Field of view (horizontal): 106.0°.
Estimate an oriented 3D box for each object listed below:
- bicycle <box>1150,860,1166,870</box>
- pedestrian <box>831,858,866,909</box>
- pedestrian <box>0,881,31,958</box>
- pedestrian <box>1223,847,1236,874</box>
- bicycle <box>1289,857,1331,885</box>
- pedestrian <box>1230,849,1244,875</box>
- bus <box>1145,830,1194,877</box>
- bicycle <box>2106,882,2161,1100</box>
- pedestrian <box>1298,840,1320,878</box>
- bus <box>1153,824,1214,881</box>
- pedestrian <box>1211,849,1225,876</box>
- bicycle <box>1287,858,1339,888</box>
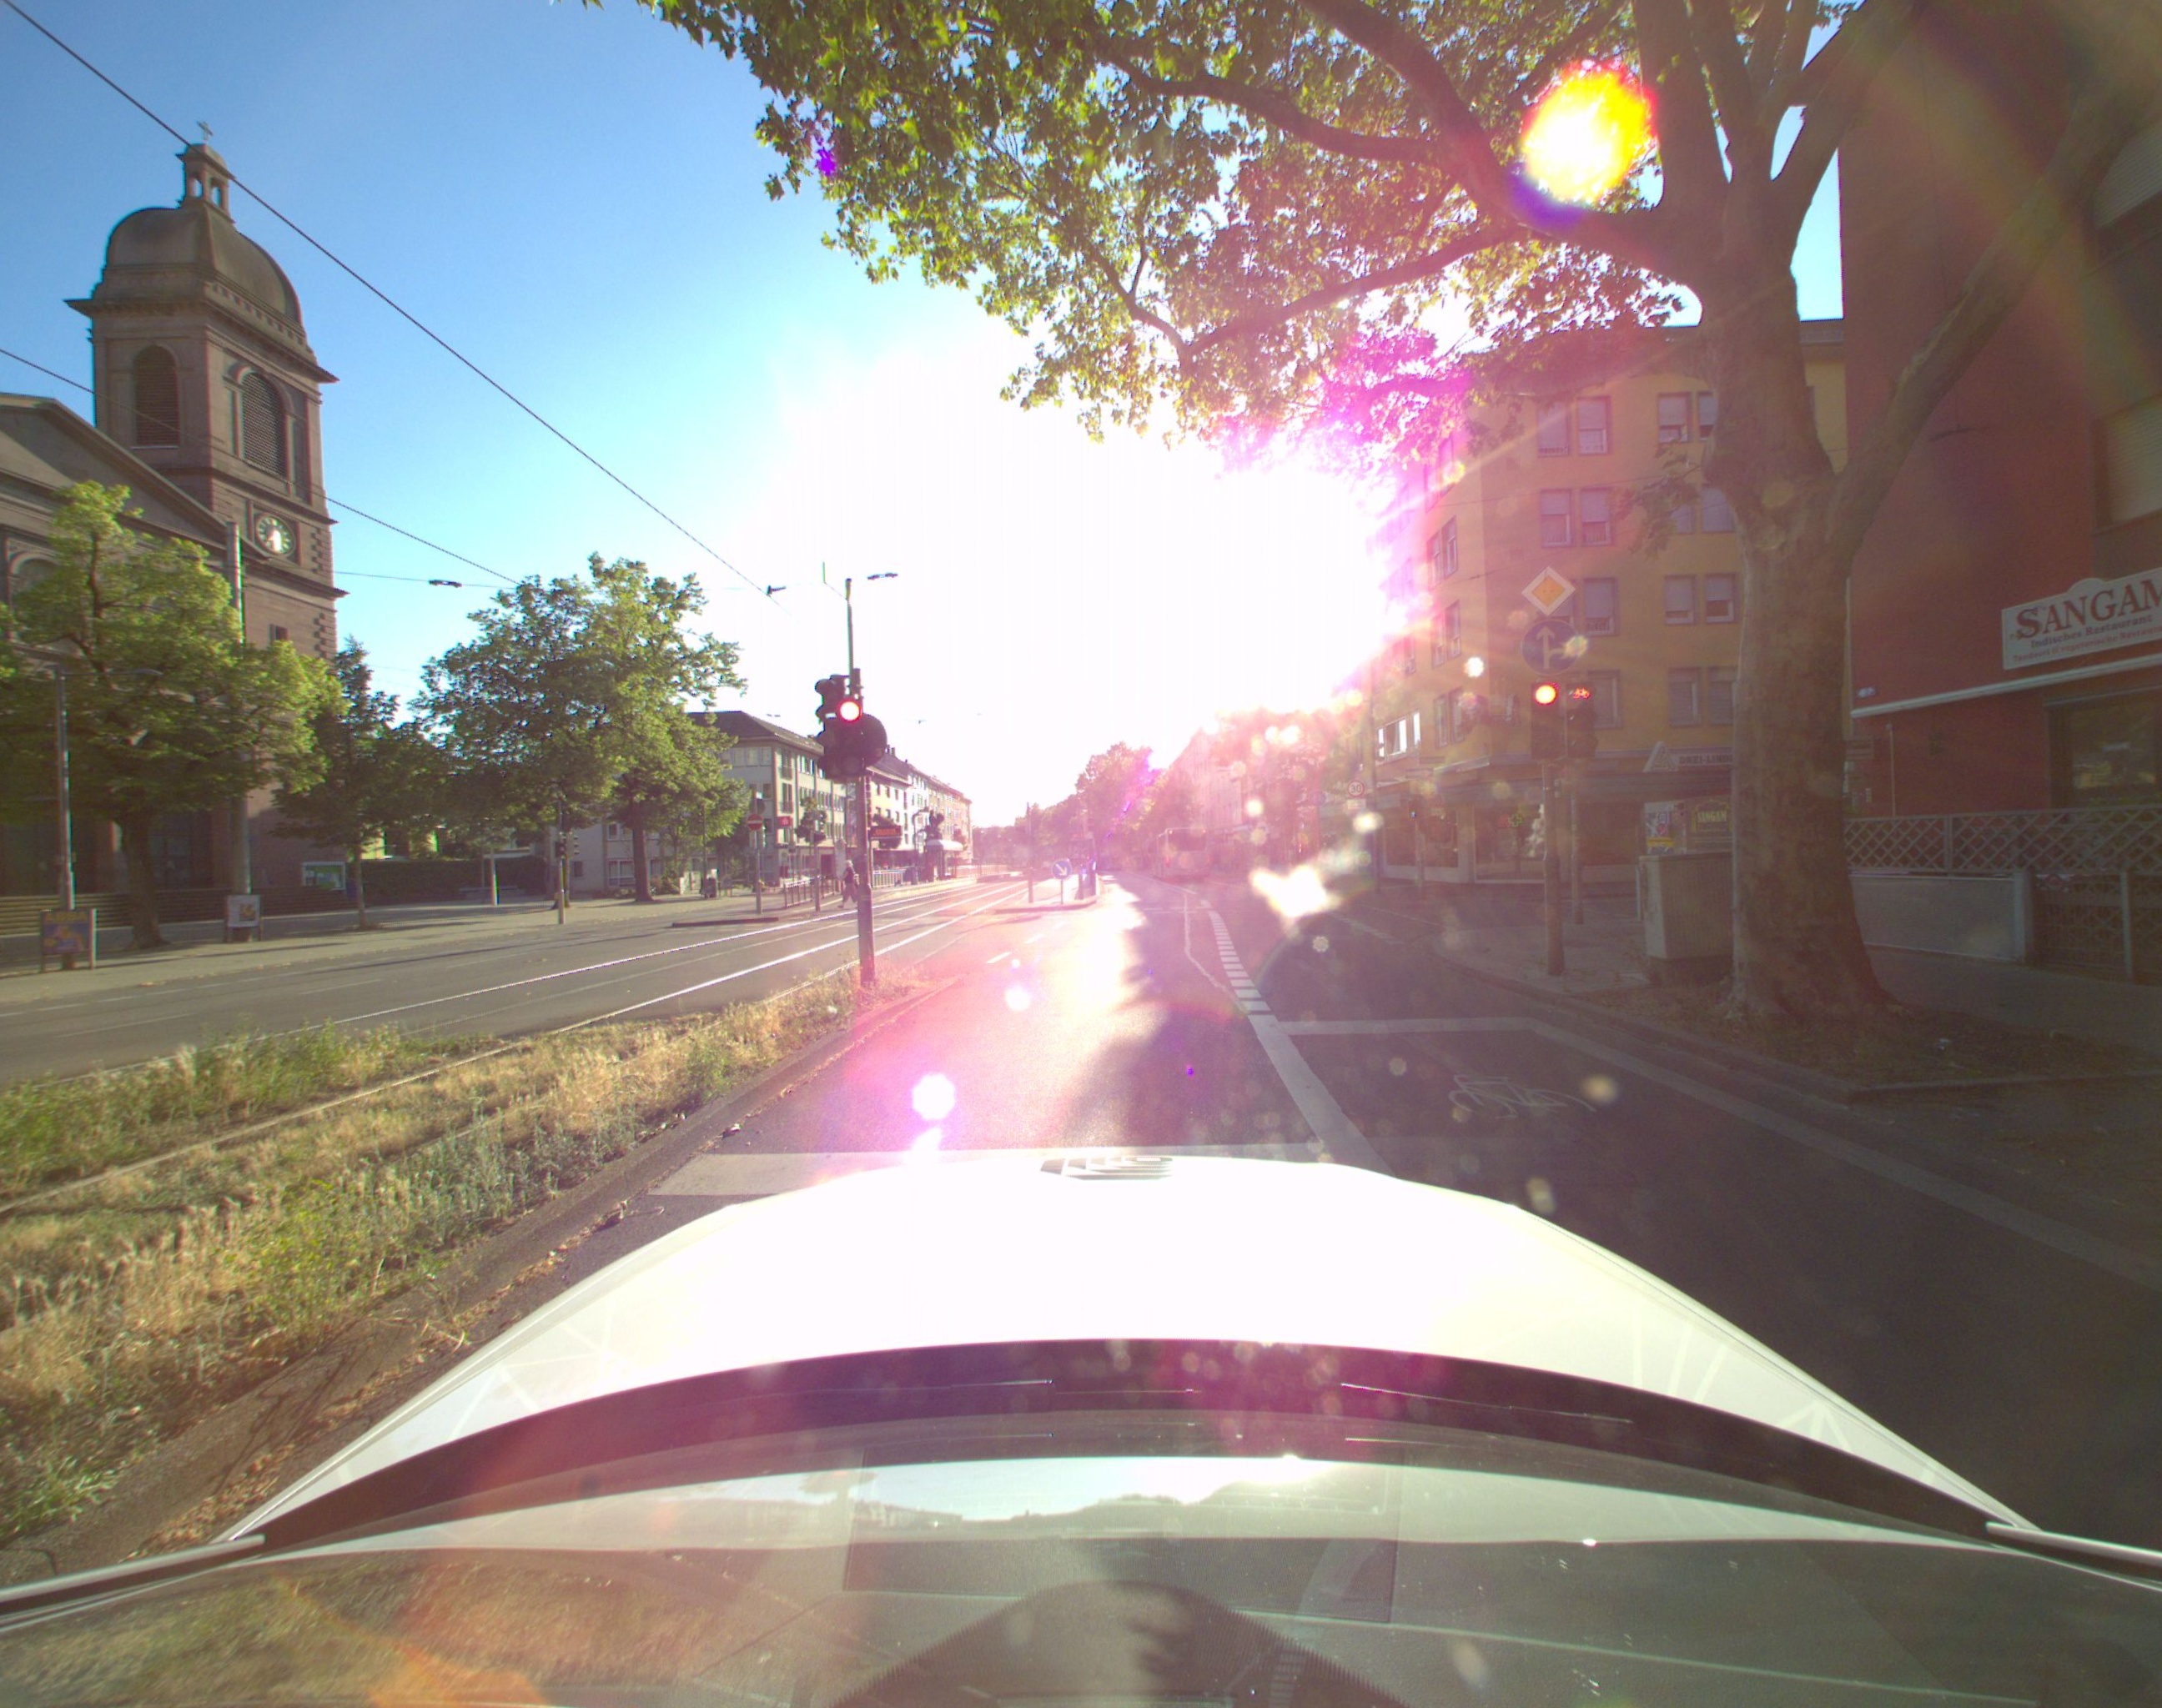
[{"bbox_3d":[9.535,1.379,100.924,1.879,1.077,0.755,-6,-1,4],"label":"bicycle"},{"bbox_3d":[-8.313,1.039,29.186,0.915,1.760,0.833,-2,-1,2],"label":"pedestrian"},{"bbox_3d":[-25.397,1.534,19.053,0.734,1.765,0.692,-2,0,1],"label":"pedestrian"},{"bbox_3d":[10.159,0.452,55.684,0.721,1.779,0.766,-2,-1,1],"label":"pedestrian"},{"bbox_3d":[8.920,0.665,31.763,1.479,1.008,0.454,-2,0,-2],"label":"bicycle"},{"bbox_3d":[10.242,0.522,53.600,0.721,1.723,0.766,-2,-1,1],"label":"pedestrian"},{"bbox_3d":[6.295,-0.010,59.381,2.687,3.118,9.071,-1,0,1],"label":"bus"},{"bbox_3d":[5.664,0.752,3.662,0.613,1.111,1.812,-3,1,28],"label":"bicycle"},{"bbox_3d":[10.955,0.242,39.162,0.741,1.780,0.895,-3,-1,1],"label":"pedestrian"},{"bbox_3d":[6.126,-0.073,50.114,2.687,3.118,9.382,-1,0,1],"label":"bus"},{"bbox_3d":[9.116,0.562,54.187,0.721,1.807,0.766,-2,-1,1],"label":"pedestrian"},{"bbox_3d":[8.874,0.708,31.187,1.793,1.008,0.540,-4,-1,-3],"label":"bicycle"}]
